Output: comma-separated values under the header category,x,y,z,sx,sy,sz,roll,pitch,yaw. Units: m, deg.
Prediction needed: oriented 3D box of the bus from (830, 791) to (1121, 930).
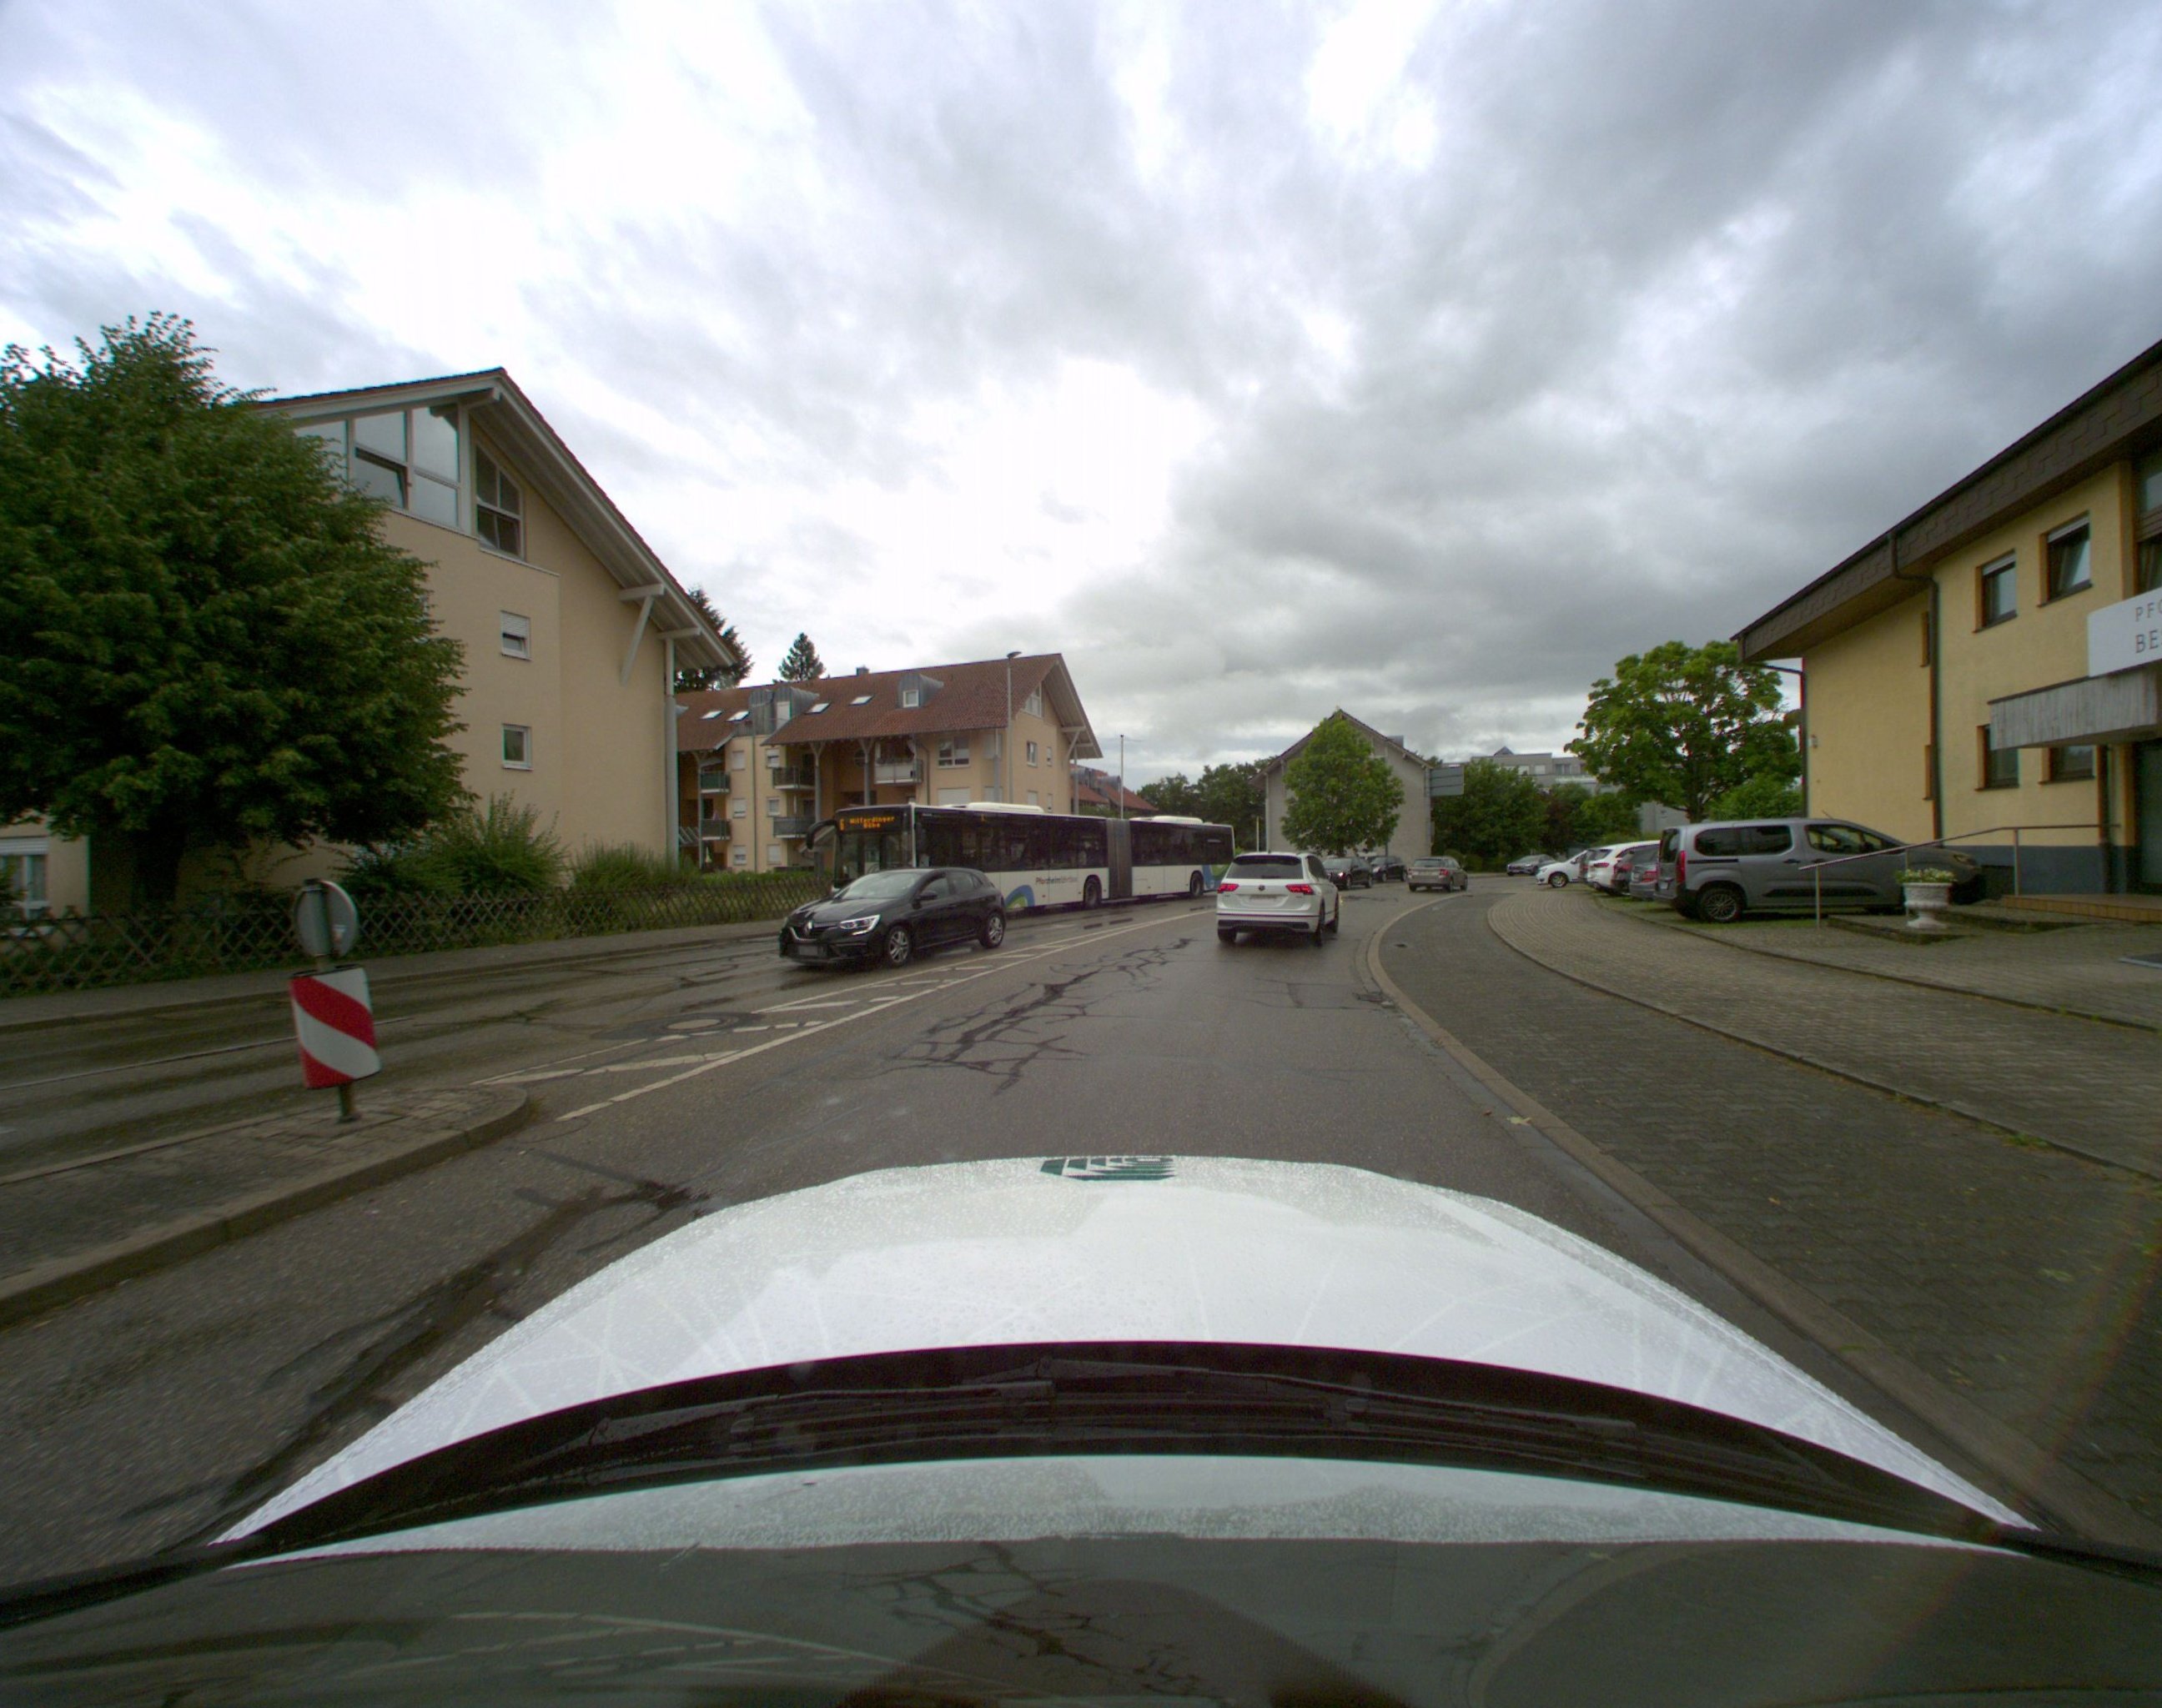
category,x,y,z,sx,sy,sz,roll,pitch,yaw
bus,-2.293,0.137,22.195,2.522,3.000,9.262,-3,-1,31

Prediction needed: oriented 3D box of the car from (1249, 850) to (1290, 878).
category,x,y,z,sx,sy,sz,roll,pitch,yaw
car,11.699,0.650,50.304,1.977,1.651,4.019,1,-2,20

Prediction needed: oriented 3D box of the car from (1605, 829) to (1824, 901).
category,x,y,z,sx,sy,sz,roll,pitch,yaw
car,15.973,0.309,20.831,4.006,1.490,1.916,-5,-2,26

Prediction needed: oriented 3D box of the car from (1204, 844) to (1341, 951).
category,x,y,z,sx,sy,sz,roll,pitch,yaw
car,3.788,0.679,15.548,1.904,1.722,4.288,1,1,22

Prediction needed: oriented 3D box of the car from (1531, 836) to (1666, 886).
category,x,y,z,sx,sy,sz,roll,pitch,yaw
car,20.429,0.302,32.342,4.298,1.597,1.777,-5,-3,30

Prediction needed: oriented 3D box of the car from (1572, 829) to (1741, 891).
category,x,y,z,sx,sy,sz,roll,pitch,yaw
car,18.270,0.226,26.105,4.008,1.597,1.915,-5,-2,24

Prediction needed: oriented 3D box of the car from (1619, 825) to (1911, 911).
category,x,y,z,sx,sy,sz,roll,pitch,yaw
car,14.188,0.327,17.234,4.322,1.423,1.704,-5,-2,22

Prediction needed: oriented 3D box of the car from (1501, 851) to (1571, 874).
category,x,y,z,sx,sy,sz,roll,pitch,yaw
car,30.768,0.563,55.039,4.497,1.390,1.892,-1,1,-26

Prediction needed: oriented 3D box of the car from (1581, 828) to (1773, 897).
category,x,y,z,sx,sy,sz,roll,pitch,yaw
car,16.965,0.265,23.446,4.009,1.597,1.906,-5,-2,22

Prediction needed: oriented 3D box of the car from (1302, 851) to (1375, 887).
category,x,y,z,sx,sy,sz,roll,pitch,yaw
car,11.522,0.656,36.265,1.841,1.518,4.319,-2,-1,36

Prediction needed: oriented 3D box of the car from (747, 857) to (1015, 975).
category,x,y,z,sx,sy,sz,roll,pitch,yaw
car,-2.990,0.878,13.143,1.933,1.519,4.198,-3,-1,25

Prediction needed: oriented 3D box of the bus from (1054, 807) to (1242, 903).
category,x,y,z,sx,sy,sz,roll,pitch,yaw
bus,2.729,0.006,29.580,2.560,3.000,8.459,-3,-1,37

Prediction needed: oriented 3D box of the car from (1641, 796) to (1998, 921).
category,x,y,z,sx,sy,sz,roll,pitch,yaw
car,12.936,0.140,14.686,4.256,1.781,1.915,-5,-2,22

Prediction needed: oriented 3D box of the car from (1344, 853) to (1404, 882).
category,x,y,z,sx,sy,sz,roll,pitch,yaw
car,16.098,0.736,44.672,3.716,1.422,1.573,-1,-1,-44

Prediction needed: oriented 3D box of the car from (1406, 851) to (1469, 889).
category,x,y,z,sx,sy,sz,roll,pitch,yaw
car,15.067,0.700,34.310,1.748,1.510,4.025,0,-2,34
